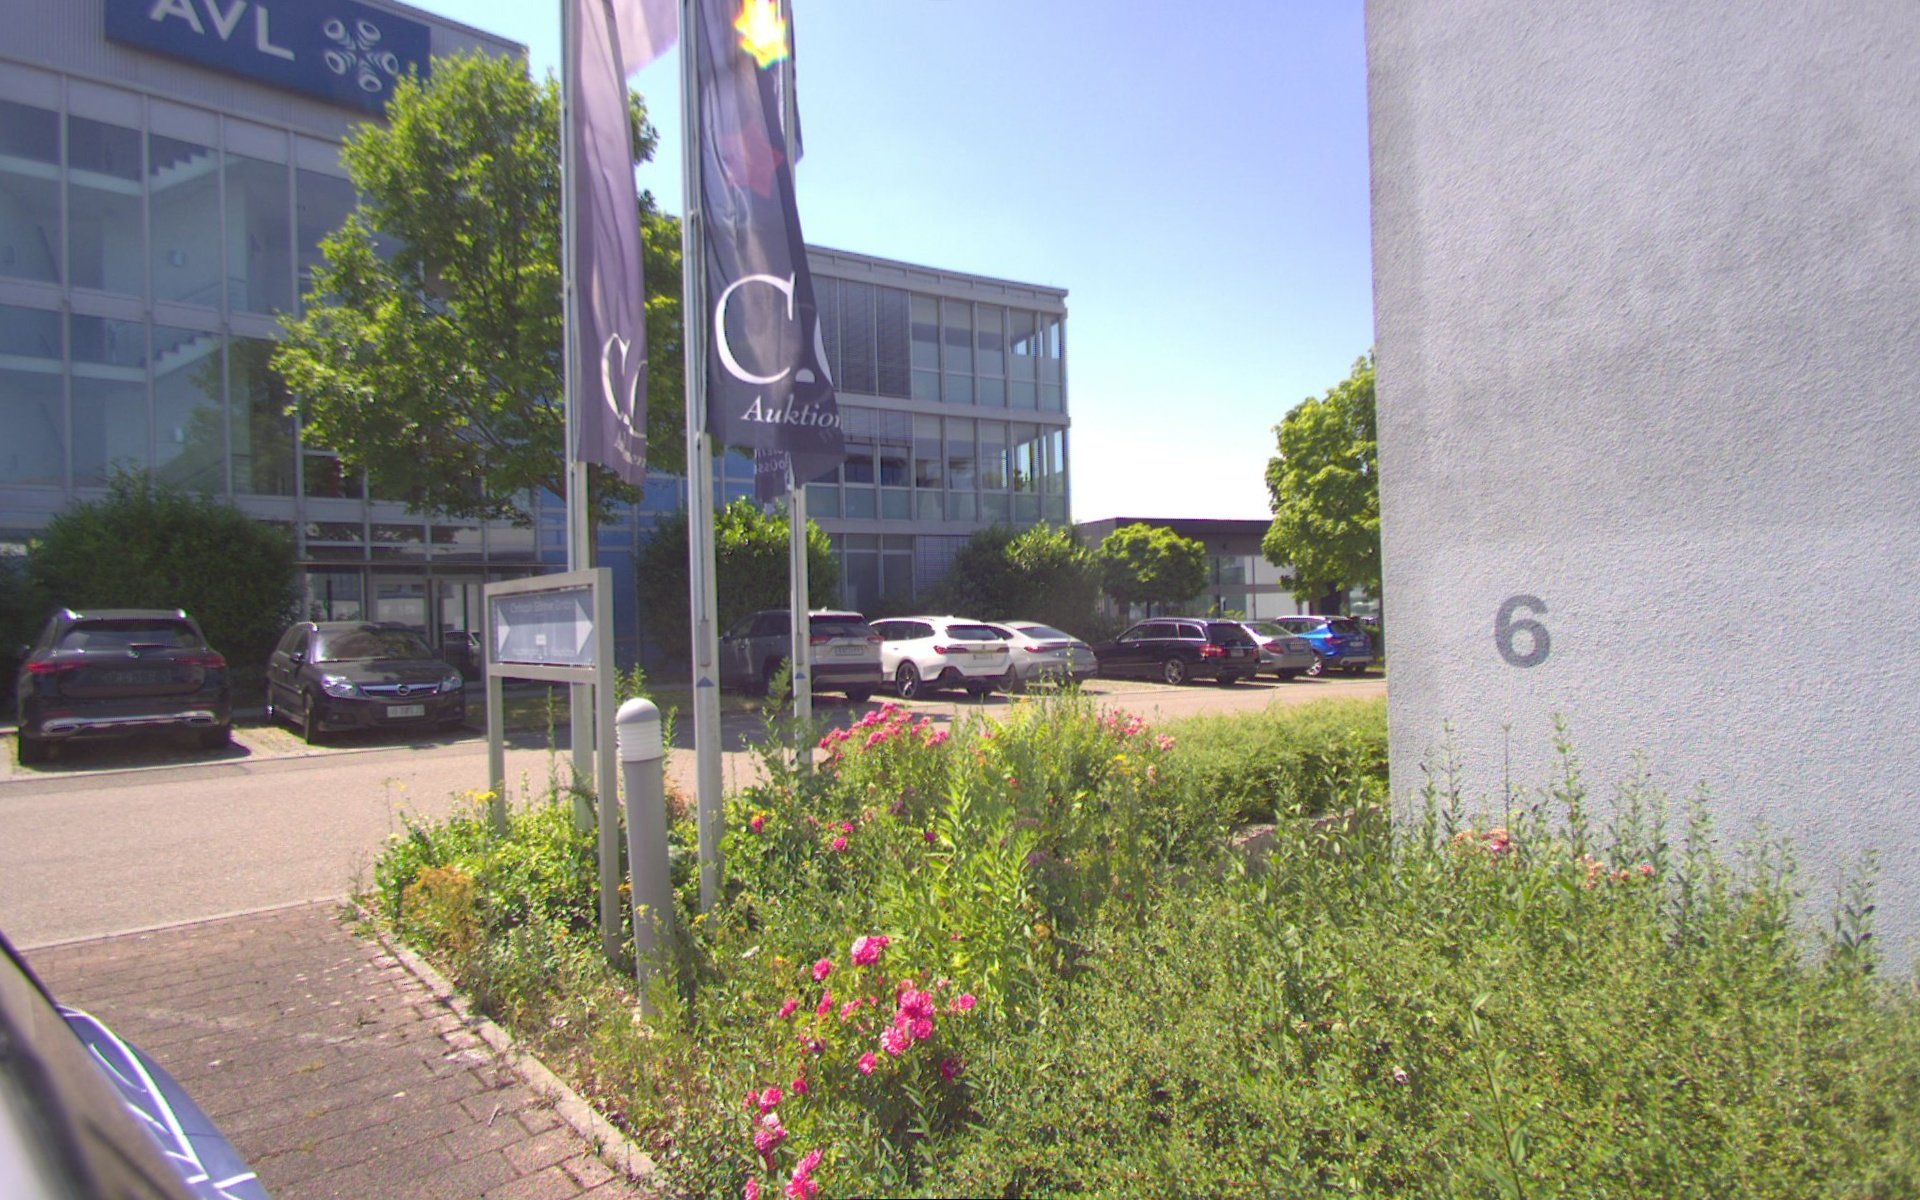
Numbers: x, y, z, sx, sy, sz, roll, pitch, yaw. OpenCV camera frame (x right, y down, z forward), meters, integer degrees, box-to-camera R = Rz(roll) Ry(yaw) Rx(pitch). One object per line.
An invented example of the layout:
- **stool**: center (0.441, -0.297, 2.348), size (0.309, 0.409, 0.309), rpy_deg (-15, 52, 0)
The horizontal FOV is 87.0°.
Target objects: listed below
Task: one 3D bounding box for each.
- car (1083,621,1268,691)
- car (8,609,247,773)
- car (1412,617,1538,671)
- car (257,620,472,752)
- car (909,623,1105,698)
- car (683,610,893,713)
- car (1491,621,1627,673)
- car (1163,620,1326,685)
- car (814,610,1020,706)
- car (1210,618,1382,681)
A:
- **car**: center (4.883, 1.229, 23.474), size (1.723, 1.435, 4.182), rpy_deg (1, -1, -34)
- **car**: center (-9.995, 0.938, 12.048), size (1.911, 1.615, 3.863), rpy_deg (2, -2, -43)
- **car**: center (14.948, 1.227, 29.515), size (1.522, 1.435, 3.009), rpy_deg (0, 0, -23)
- **car**: center (-8.258, 1.046, 13.841), size (1.704, 1.495, 4.402), rpy_deg (0, -1, -42)
- **car**: center (0.878, 1.186, 21.150), size (1.725, 1.411, 4.178), rpy_deg (1, -2, -40)
- **car**: center (-3.210, 1.031, 18.305), size (1.805, 1.650, 4.176), rpy_deg (1, -2, -42)
- **car**: center (17.480, 1.336, 29.639), size (1.522, 1.435, 3.099), rpy_deg (0, -1, -23)
- **car**: center (6.962, 1.242, 25.226), size (1.722, 1.435, 4.185), rpy_deg (0, -1, -21)
- **car**: center (-0.939, 1.047, 19.633), size (1.805, 1.650, 4.178), rpy_deg (1, -2, -40)
- **car**: center (8.740, 1.240, 26.673), size (1.723, 1.435, 4.183), rpy_deg (0, 0, -32)
